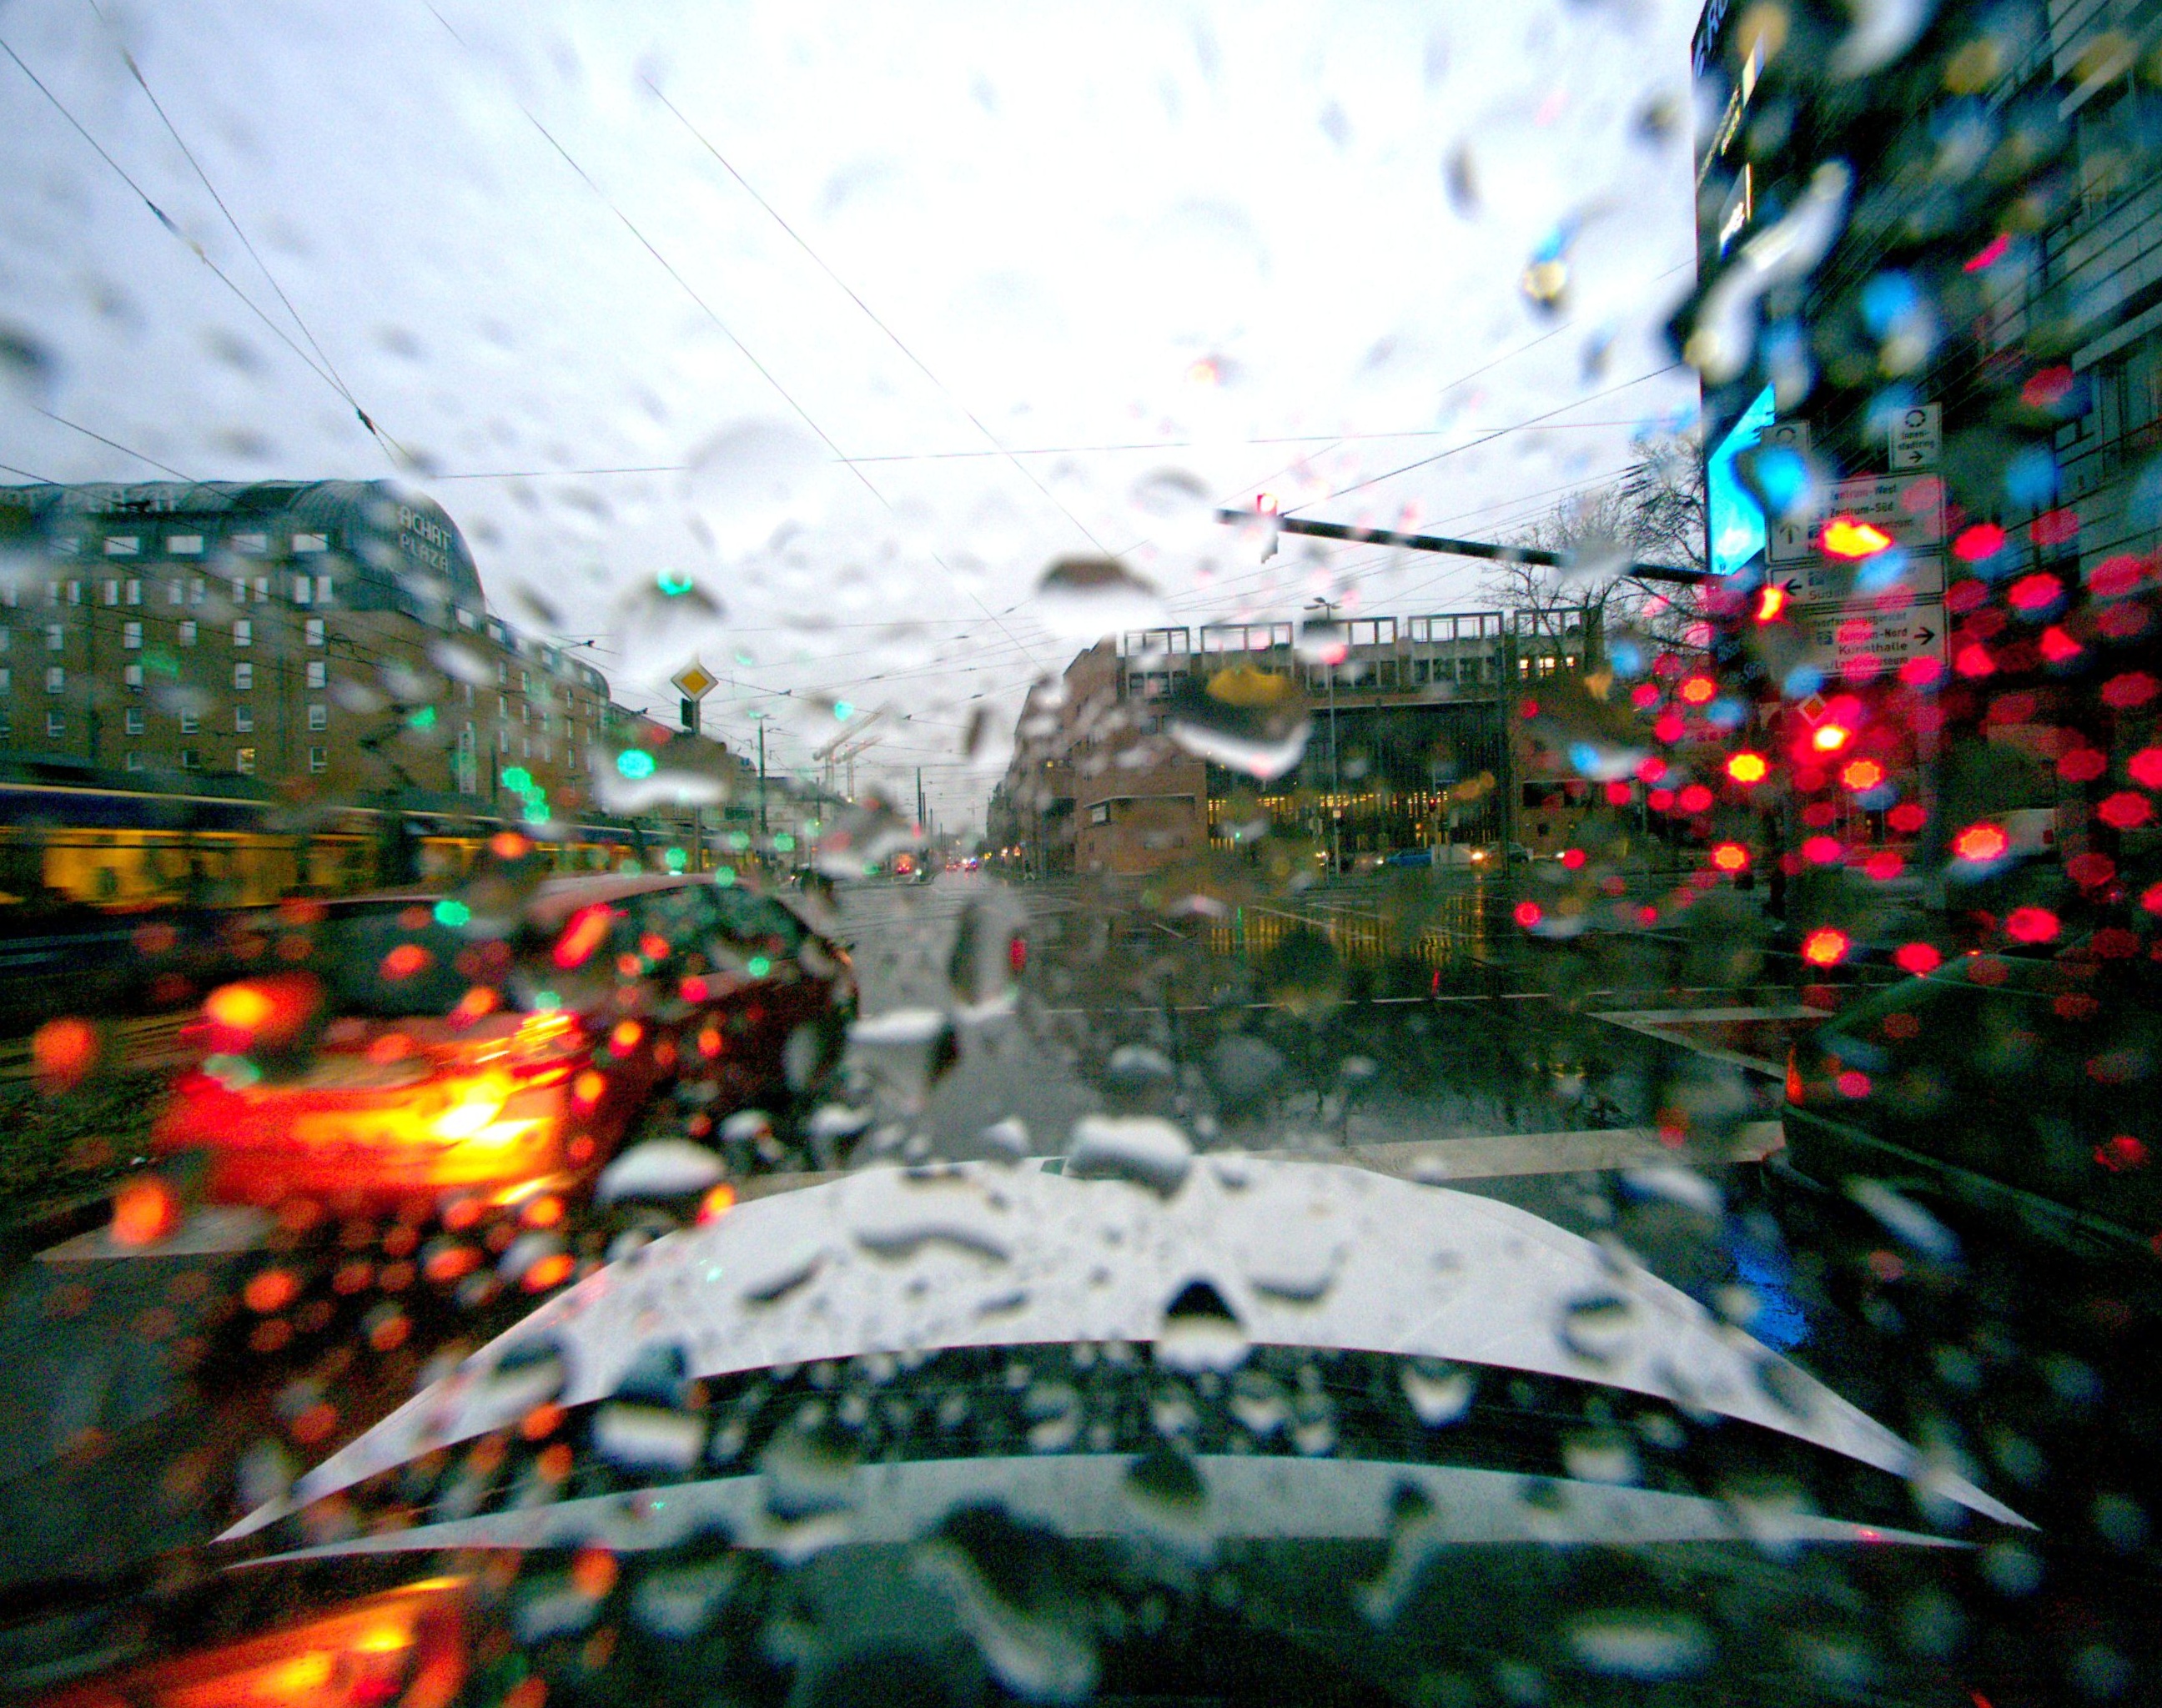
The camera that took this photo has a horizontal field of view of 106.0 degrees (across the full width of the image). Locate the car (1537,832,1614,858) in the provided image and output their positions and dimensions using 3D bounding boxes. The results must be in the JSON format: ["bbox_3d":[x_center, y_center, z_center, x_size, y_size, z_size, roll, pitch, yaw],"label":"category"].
[{"bbox_3d":[32.164,-0.597,53.082,3.979,1.504,1.845,-2,4,-4],"label":"car"}]

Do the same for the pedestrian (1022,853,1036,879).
[{"bbox_3d":[-4.219,0.964,66.024,1.069,2.013,0.682,-2,0,-12],"label":"pedestrian"}]

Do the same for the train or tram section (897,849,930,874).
[{"bbox_3d":[-26.549,1.240,130.390,3.189,3.436,27.753,-2,0,-8],"label":"train or tram section"}]

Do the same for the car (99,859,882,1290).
[{"bbox_3d":[-2.571,0.799,4.771,1.691,1.459,3.759,-2,0,2],"label":"car"}]

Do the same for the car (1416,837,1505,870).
[{"bbox_3d":[20.438,-0.065,43.901,3.979,1.504,1.845,-2,4,-4],"label":"car"}]

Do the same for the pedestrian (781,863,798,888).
[{"bbox_3d":[-23.371,1.716,65.248,0.973,2.014,0.838,-1,-1,16],"label":"pedestrian"}]

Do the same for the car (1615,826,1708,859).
[{"bbox_3d":[32.252,-0.670,45.338,3.979,1.600,1.845,-2,4,-4],"label":"car"}]

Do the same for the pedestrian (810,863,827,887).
[{"bbox_3d":[-21.839,1.734,67.828,0.973,2.014,0.838,-1,-1,16],"label":"pedestrian"}]

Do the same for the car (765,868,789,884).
[{"bbox_3d":[-32.306,2.351,86.723,1.787,1.624,3.850,-1,0,-11],"label":"car"}]

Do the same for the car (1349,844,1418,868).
[{"bbox_3d":[19.150,0.111,51.602,3.713,1.263,1.845,-2,4,-4],"label":"car"}]

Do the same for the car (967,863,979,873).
[{"bbox_3d":[-18.130,2.393,136.764,1.868,1.579,3.991,0,0,-6],"label":"car"}]

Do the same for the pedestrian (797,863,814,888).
[{"bbox_3d":[-22.491,1.722,66.574,0.973,2.014,0.838,-1,-1,16],"label":"pedestrian"}]

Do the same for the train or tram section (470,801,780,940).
[{"bbox_3d":[-15.815,0.505,31.515,2.861,3.614,19.174,-2,0,-6],"label":"train or tram section"}]

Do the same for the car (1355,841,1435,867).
[{"bbox_3d":[18.318,0.008,47.533,3.979,1.263,1.845,-2,4,-4],"label":"car"}]

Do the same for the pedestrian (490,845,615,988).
[{"bbox_3d":[-6.399,0.728,9.874,0.707,1.601,1.043,-5,-1,41],"label":"pedestrian"}]

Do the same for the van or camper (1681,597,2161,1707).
[{"bbox_3d":[2.682,0.509,0.306,1.750,1.906,4.420,-1,0,2],"label":"van or camper"}]

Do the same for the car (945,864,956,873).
[{"bbox_3d":[-22.548,2.524,140.833,1.869,1.579,3.989,0,0,-8],"label":"car"}]

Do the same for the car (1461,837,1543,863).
[{"bbox_3d":[24.825,-0.267,48.086,3.979,1.288,1.845,-2,4,-4],"label":"car"}]

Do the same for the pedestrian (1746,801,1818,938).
[{"bbox_3d":[11.479,0.245,13.355,0.574,2.184,0.619,-1,-1,-4],"label":"pedestrian"}]

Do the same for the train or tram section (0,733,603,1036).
[{"bbox_3d":[-14.440,0.428,12.611,2.857,3.614,20.053,-2,0,-2],"label":"train or tram section"}]
